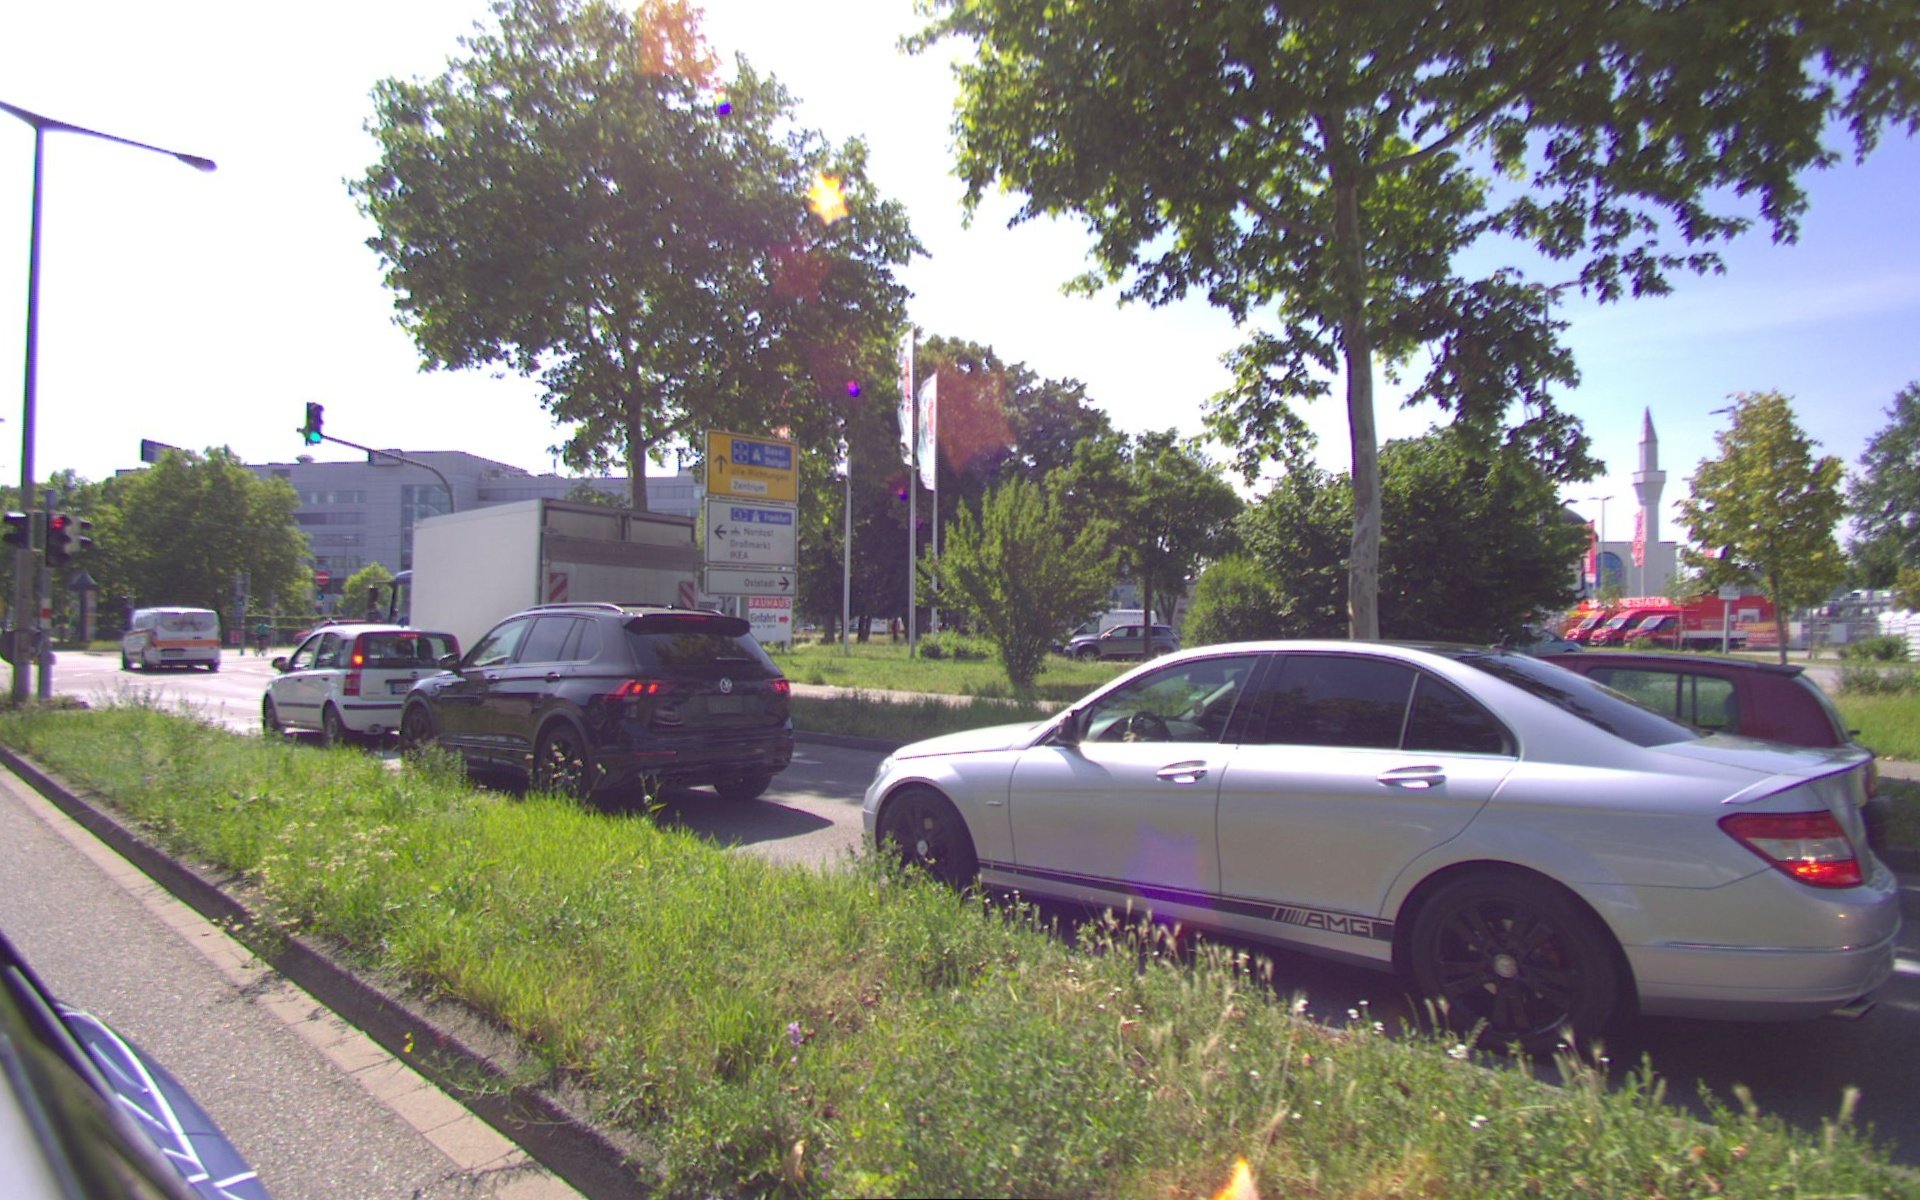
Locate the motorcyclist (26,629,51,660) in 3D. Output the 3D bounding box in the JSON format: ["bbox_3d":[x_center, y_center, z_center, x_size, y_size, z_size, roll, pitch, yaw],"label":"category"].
[{"bbox_3d":[-44.043,2.114,48.361,0.987,1.481,0.735,-2,-2,41],"label":"motorcyclist"}]

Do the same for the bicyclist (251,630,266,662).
[{"bbox_3d":[-33.082,2.156,47.737,0.521,1.503,0.610,1,-2,-40],"label":"bicyclist"}]

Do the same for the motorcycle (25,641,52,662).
[{"bbox_3d":[-44.019,2.451,48.331,2.216,0.999,0.680,-2,-2,41],"label":"motorcycle"}]

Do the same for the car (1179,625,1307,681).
[{"bbox_3d":[8.023,1.431,28.409,2.195,1.425,4.524,-1,-2,34],"label":"car"}]

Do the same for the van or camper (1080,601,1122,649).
[{"bbox_3d":[9.647,1.685,69.650,2.679,3.124,6.312,-1,-1,6],"label":"van or camper"}]

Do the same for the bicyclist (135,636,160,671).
[{"bbox_3d":[-42.969,2.829,53.530,0.698,1.802,0.765,-1,-2,12],"label":"bicyclist"}]

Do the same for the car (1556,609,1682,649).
[{"bbox_3d":[42.919,1.897,66.103,6.365,2.548,2.381,-1,-2,9],"label":"car"}]

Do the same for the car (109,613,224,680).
[{"bbox_3d":[-25.861,1.522,32.926,5.029,2.015,1.955,-2,-5,41],"label":"car"}]

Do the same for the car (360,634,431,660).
[{"bbox_3d":[-34.075,2.820,61.181,1.824,1.460,3.994,-1,-2,5],"label":"car"}]

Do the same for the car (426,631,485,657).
[{"bbox_3d":[-33.733,2.940,67.826,1.972,1.712,4.000,0,-2,-1],"label":"car"}]

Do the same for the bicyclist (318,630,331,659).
[{"bbox_3d":[-31.493,2.201,50.177,0.520,1.425,0.611,1,-2,-33],"label":"bicyclist"}]

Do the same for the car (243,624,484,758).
[{"bbox_3d":[-7.785,1.090,13.083,3.727,1.488,1.576,-2,-4,41],"label":"car"}]

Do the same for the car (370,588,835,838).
[{"bbox_3d":[-3.365,0.801,8.973,4.692,1.659,1.801,-1,-3,41],"label":"car"}]

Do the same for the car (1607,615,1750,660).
[{"bbox_3d":[42.274,2.202,59.715,6.365,2.548,2.381,-1,-2,9],"label":"car"}]

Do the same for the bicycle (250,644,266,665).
[{"bbox_3d":[-33.173,2.545,47.824,0.411,0.945,2.000,1,-2,-40],"label":"bicycle"}]

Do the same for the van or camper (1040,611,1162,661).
[{"bbox_3d":[6.467,1.648,46.783,5.453,2.226,2.191,0,-2,8],"label":"van or camper"}]

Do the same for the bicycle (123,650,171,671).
[{"bbox_3d":[-42.963,3.180,53.501,0.520,1.072,2.157,-1,-2,11],"label":"bicycle"}]

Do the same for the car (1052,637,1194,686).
[{"bbox_3d":[5.635,2.128,35.434,4.511,1.584,2.201,0,-2,-1],"label":"car"}]

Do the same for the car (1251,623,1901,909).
[{"bbox_3d":[4.007,0.946,6.989,3.543,1.463,1.548,-2,-5,41],"label":"car"}]

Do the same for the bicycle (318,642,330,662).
[{"bbox_3d":[-31.440,2.582,50.028,0.428,0.945,1.756,1,-2,-33],"label":"bicycle"}]

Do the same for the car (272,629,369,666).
[{"bbox_3d":[-41.868,3.068,66.347,2.151,2.296,4.972,-2,-2,41],"label":"car"}]

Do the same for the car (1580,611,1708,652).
[{"bbox_3d":[42.659,1.979,63.269,6.056,2.548,2.381,-1,-2,9],"label":"car"}]

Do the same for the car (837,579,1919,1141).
[{"bbox_3d":[1.599,0.771,4.715,4.521,1.479,1.777,-2,-4,42],"label":"car"}]

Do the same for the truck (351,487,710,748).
[{"bbox_3d":[-7.330,0.396,16.833,6.687,3.498,2.774,-2,-5,41],"label":"truck"}]

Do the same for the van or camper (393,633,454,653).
[{"bbox_3d":[-47.570,3.781,89.811,4.453,1.705,1.998,-1,-2,4],"label":"van or camper"}]
